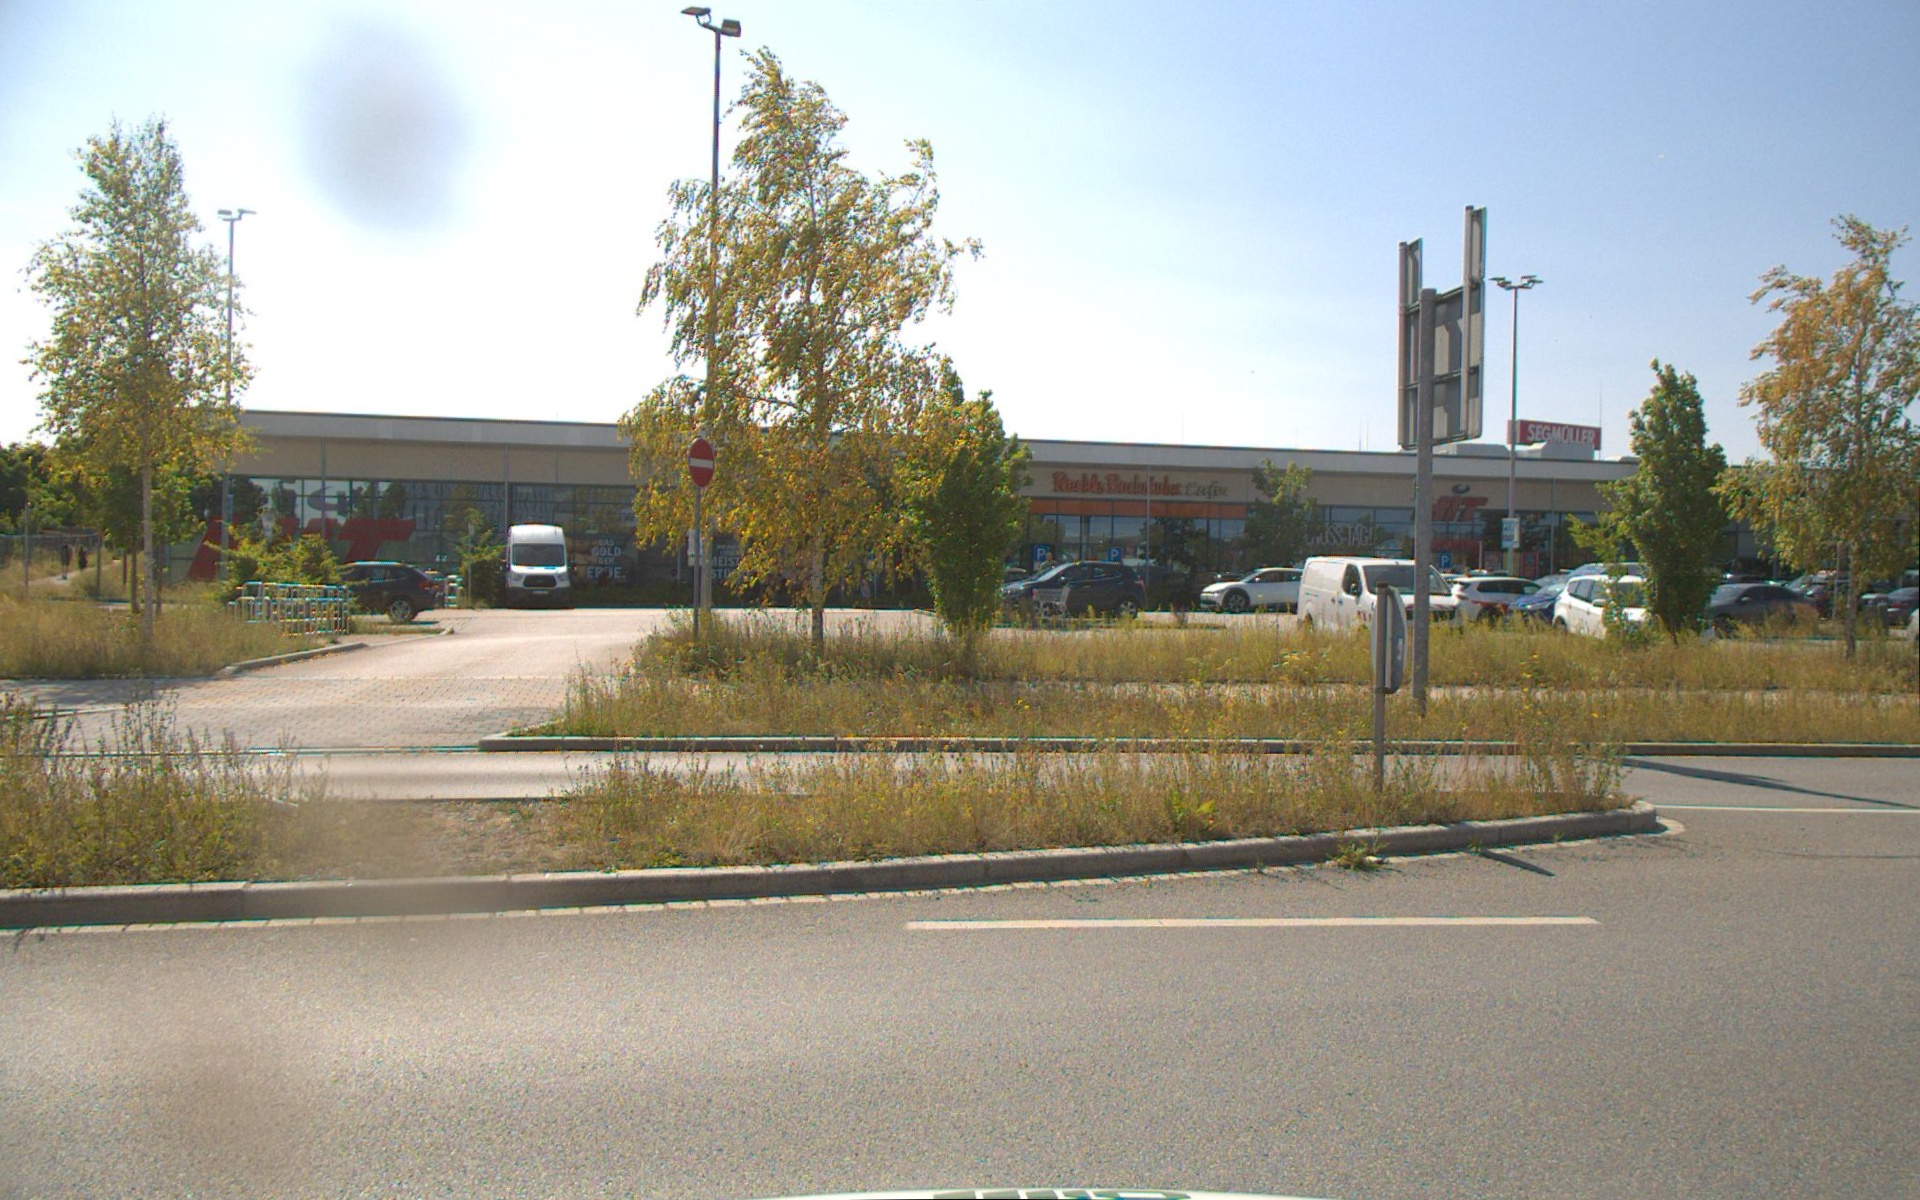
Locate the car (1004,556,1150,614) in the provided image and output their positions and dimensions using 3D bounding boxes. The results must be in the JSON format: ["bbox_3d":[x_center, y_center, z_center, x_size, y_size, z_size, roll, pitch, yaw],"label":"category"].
[{"bbox_3d":[3.261,-0.425,46.231,3.728,1.535,1.726,0,1,-13],"label":"car"}]

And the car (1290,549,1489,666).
[{"bbox_3d":[8.153,0.069,31.996,2.040,2.048,5.223,1,1,-6],"label":"car"}]

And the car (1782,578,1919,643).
[{"bbox_3d":[30.878,0.351,56.810,4.388,2.139,1.996,1,0,-10],"label":"car"}]

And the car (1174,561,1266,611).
[{"bbox_3d":[9.624,-0.539,61.587,1.960,1.737,3.986,0,2,-14],"label":"car"}]

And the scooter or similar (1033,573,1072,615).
[{"bbox_3d":[2.473,-0.157,44.338,0.926,1.098,0.651,1,1,-9],"label":"scooter or similar"}]

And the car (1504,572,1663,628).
[{"bbox_3d":[16.509,-0.007,43.845,3.660,1.415,1.724,0,1,-17],"label":"car"}]

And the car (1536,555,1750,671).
[{"bbox_3d":[13.249,0.178,32.482,2.113,2.048,5.117,1,1,1],"label":"car"}]

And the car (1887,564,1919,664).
[{"bbox_3d":[20.901,0.341,32.835,2.113,2.048,5.117,1,1,1],"label":"car"}]

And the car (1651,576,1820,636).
[{"bbox_3d":[21.423,0.156,45.742,3.917,1.534,1.869,1,1,-12],"label":"car"}]

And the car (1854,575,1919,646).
[{"bbox_3d":[31.605,0.357,53.796,4.403,2.229,1.989,1,1,-20],"label":"car"}]

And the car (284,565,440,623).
[{"bbox_3d":[-15.746,-0.158,43.743,3.772,1.448,1.764,1,1,-18],"label":"car"}]

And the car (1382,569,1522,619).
[{"bbox_3d":[14.626,-0.172,49.195,3.660,1.415,1.724,0,1,-17],"label":"car"}]

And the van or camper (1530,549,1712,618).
[{"bbox_3d":[20.381,-0.512,51.043,4.946,2.048,1.995,0,1,-12],"label":"van or camper"}]

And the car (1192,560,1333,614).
[{"bbox_3d":[10.356,-0.458,56.718,4.390,1.735,1.870,1,1,-11],"label":"car"}]

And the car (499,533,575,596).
[{"bbox_3d":[-14.384,-1.212,56.021,2.187,2.011,6.665,0,1,-17],"label":"car"}]

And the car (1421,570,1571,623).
[{"bbox_3d":[14.960,-0.109,46.171,3.660,1.415,1.724,0,1,-17],"label":"car"}]
